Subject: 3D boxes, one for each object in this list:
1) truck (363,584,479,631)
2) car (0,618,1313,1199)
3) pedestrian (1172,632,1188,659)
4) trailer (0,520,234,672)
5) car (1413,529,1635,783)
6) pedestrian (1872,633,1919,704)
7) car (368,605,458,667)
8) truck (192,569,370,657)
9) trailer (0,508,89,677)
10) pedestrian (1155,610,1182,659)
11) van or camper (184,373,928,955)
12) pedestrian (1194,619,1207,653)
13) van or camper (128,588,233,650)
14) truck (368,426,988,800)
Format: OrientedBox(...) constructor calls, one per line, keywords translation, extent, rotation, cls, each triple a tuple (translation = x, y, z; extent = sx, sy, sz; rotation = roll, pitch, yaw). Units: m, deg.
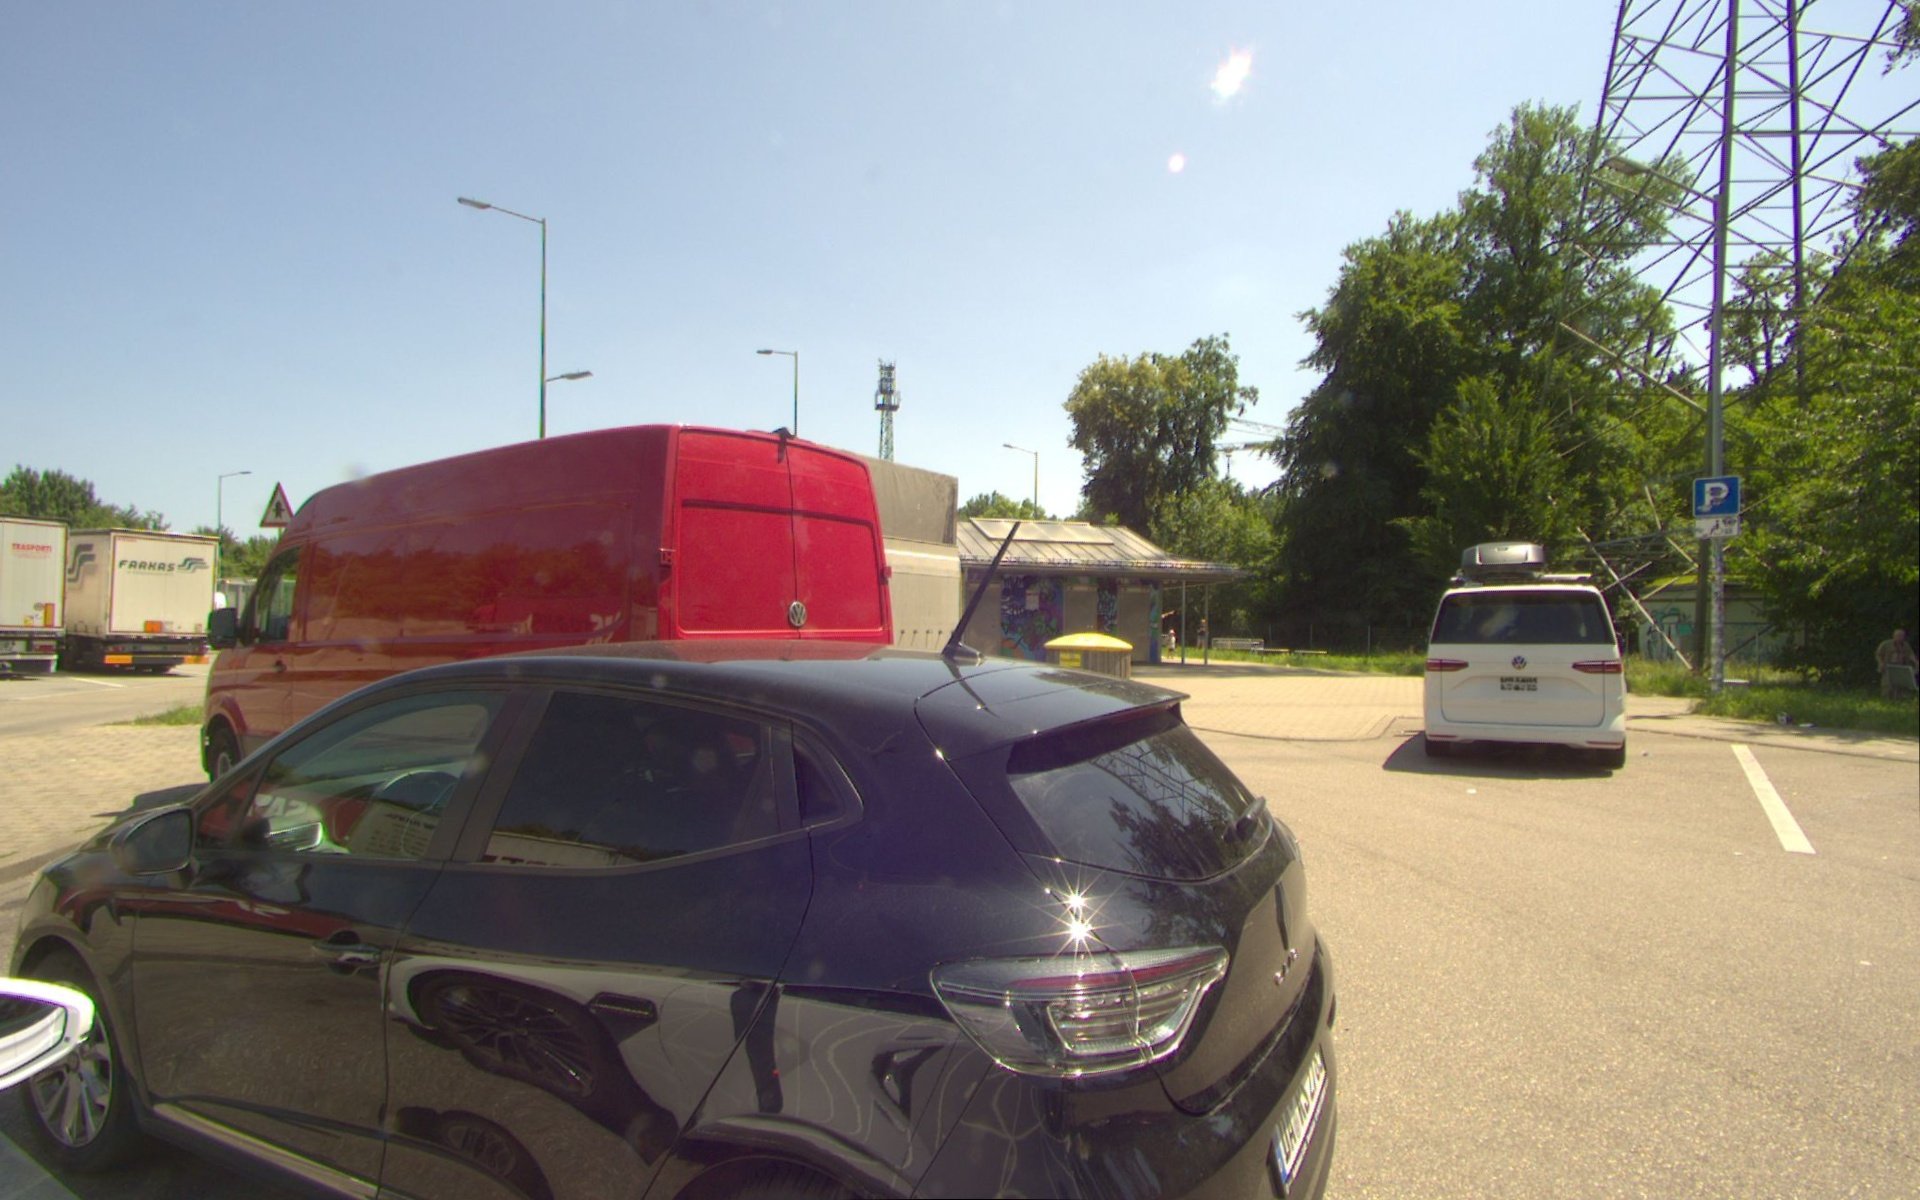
OrientedBox(translation=(-34.716, 0.469, 64.273), extent=(9.637, 2.857, 2.121), rotation=(0, -1, 33), cls="truck")
OrientedBox(translation=(-1.061, 0.833, 2.835), extent=(3.706, 1.503, 1.615), rotation=(0, -1, 27), cls="car")
OrientedBox(translation=(8.200, 1.697, 37.366), extent=(0.449, 1.018, 0.434), rotation=(1, 0, -10), cls="pedestrian")
OrientedBox(translation=(-27.292, -0.202, 31.458), extent=(12.255, 4.090, 2.862), rotation=(2, -1, 33), cls="trailer")
OrientedBox(translation=(6.539, 0.569, 11.547), extent=(1.892, 2.354, 4.074), rotation=(-1, -1, 32), cls="car")
OrientedBox(translation=(19.052, 1.379, 20.262), extent=(0.696, 1.392, 0.606), rotation=(1, 0, 19), cls="pedestrian")
OrientedBox(translation=(-20.480, 1.315, 37.731), extent=(1.965, 2.178, 5.302), rotation=(1, -1, -18), cls="car")
OrientedBox(translation=(-31.688, 0.506, 46.470), extent=(11.255, 3.615, 2.484), rotation=(2, -1, 33), cls="truck")
OrientedBox(translation=(-28.353, -0.332, 27.793), extent=(12.255, 4.090, 2.862), rotation=(2, -1, 33), cls="trailer")
OrientedBox(translation=(7.738, 1.269, 37.175), extent=(0.708, 1.773, 0.739), rotation=(1, 0, -10), cls="pedestrian")
OrientedBox(translation=(-3.367, 0.322, 7.343), extent=(6.394, 2.688, 1.990), rotation=(0, -1, 36), cls="van or camper")
OrientedBox(translation=(10.959, 1.623, 45.605), extent=(0.582, 1.536, 0.588), rotation=(1, 0, 14), cls="pedestrian")
OrientedBox(translation=(-34.640, 0.820, 44.434), extent=(5.296, 2.595, 2.100), rotation=(0, -1, 34), cls="van or camper")
OrientedBox(translation=(-3.261, 0.132, 10.549), extent=(6.874, 2.828, 2.460), rotation=(0, -1, 35), cls="truck")
